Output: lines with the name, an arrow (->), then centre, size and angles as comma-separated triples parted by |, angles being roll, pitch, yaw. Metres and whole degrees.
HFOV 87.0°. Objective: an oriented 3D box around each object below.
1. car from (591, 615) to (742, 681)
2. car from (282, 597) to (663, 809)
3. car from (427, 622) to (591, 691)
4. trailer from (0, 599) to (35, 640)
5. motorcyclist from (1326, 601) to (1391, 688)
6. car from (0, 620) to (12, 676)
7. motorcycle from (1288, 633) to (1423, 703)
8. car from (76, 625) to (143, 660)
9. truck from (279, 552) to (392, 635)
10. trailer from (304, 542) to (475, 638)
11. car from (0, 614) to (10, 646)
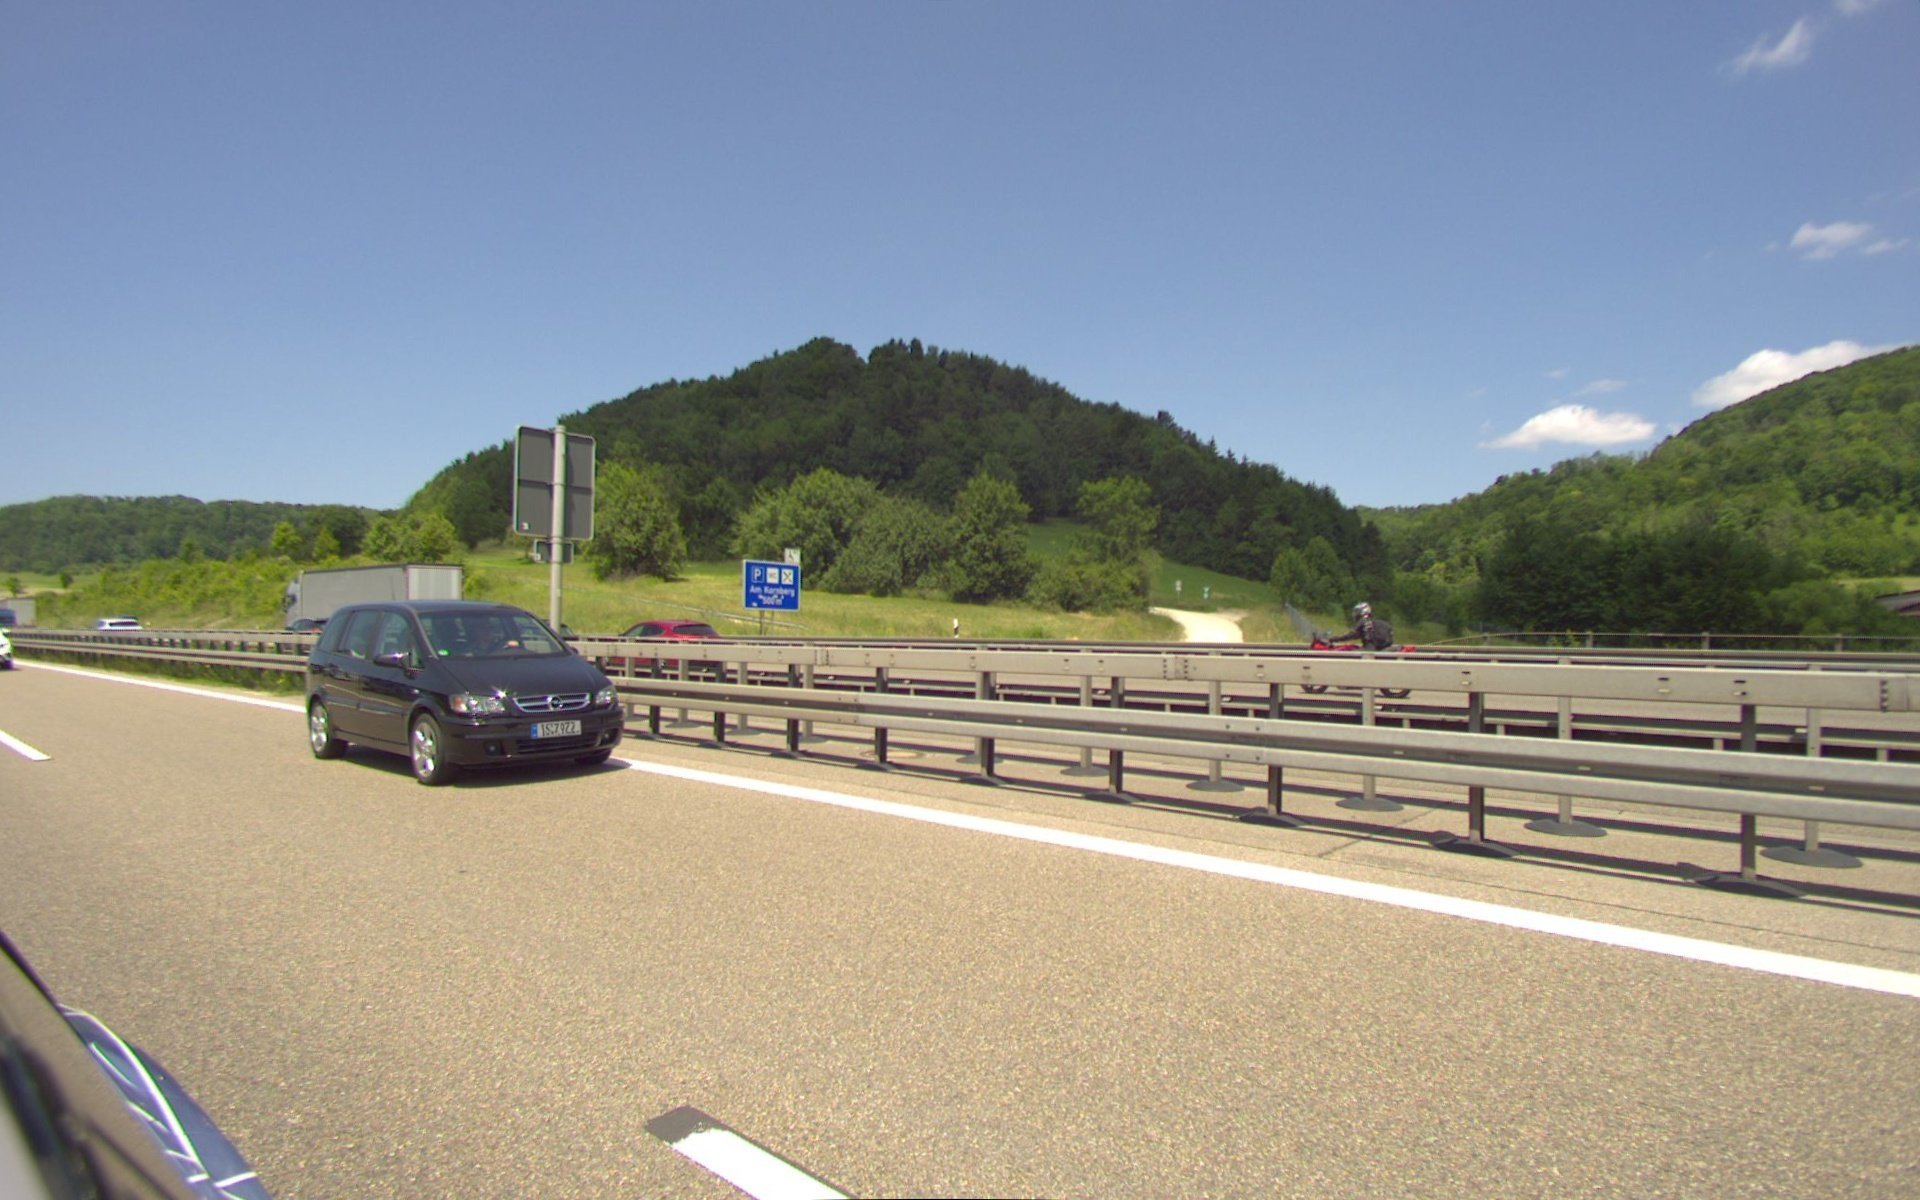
car -> -7.894, 1.237, 27.041 | 4.353, 1.630, 1.849 | -1, -1, 41
car -> -4.963, 0.851, 10.003 | 4.443, 1.647, 1.782 | -1, -2, 41
car -> -10.834, 1.285, 24.161 | 4.624, 1.479, 1.732 | -1, -1, 40
trailer -> -104.317, 2.068, 110.800 | 13.606, 4.222, 2.825 | -1, 0, 40
motorcyclist -> 7.108, 0.777, 18.053 | 0.838, 1.512, 0.835 | -1, -2, 40
car -> -29.931, 1.434, 30.250 | 3.999, 1.634, 1.972 | -1, -1, 42
motorcycle -> 7.049, 1.180, 18.097 | 2.128, 1.158, 0.710 | -1, -2, 40
car -> -43.890, 2.147, 52.203 | 4.507, 1.706, 1.973 | -1, 0, 41
truck -> -33.702, -0.291, 54.513 | 6.951, 4.179, 3.244 | -1, -1, 41
trailer -> -28.536, -0.404, 50.166 | 12.992, 4.236, 3.214 | -1, 0, 41
car -> -90.497, 2.759, 94.370 | 6.395, 2.884, 2.133 | -1, 0, 41
